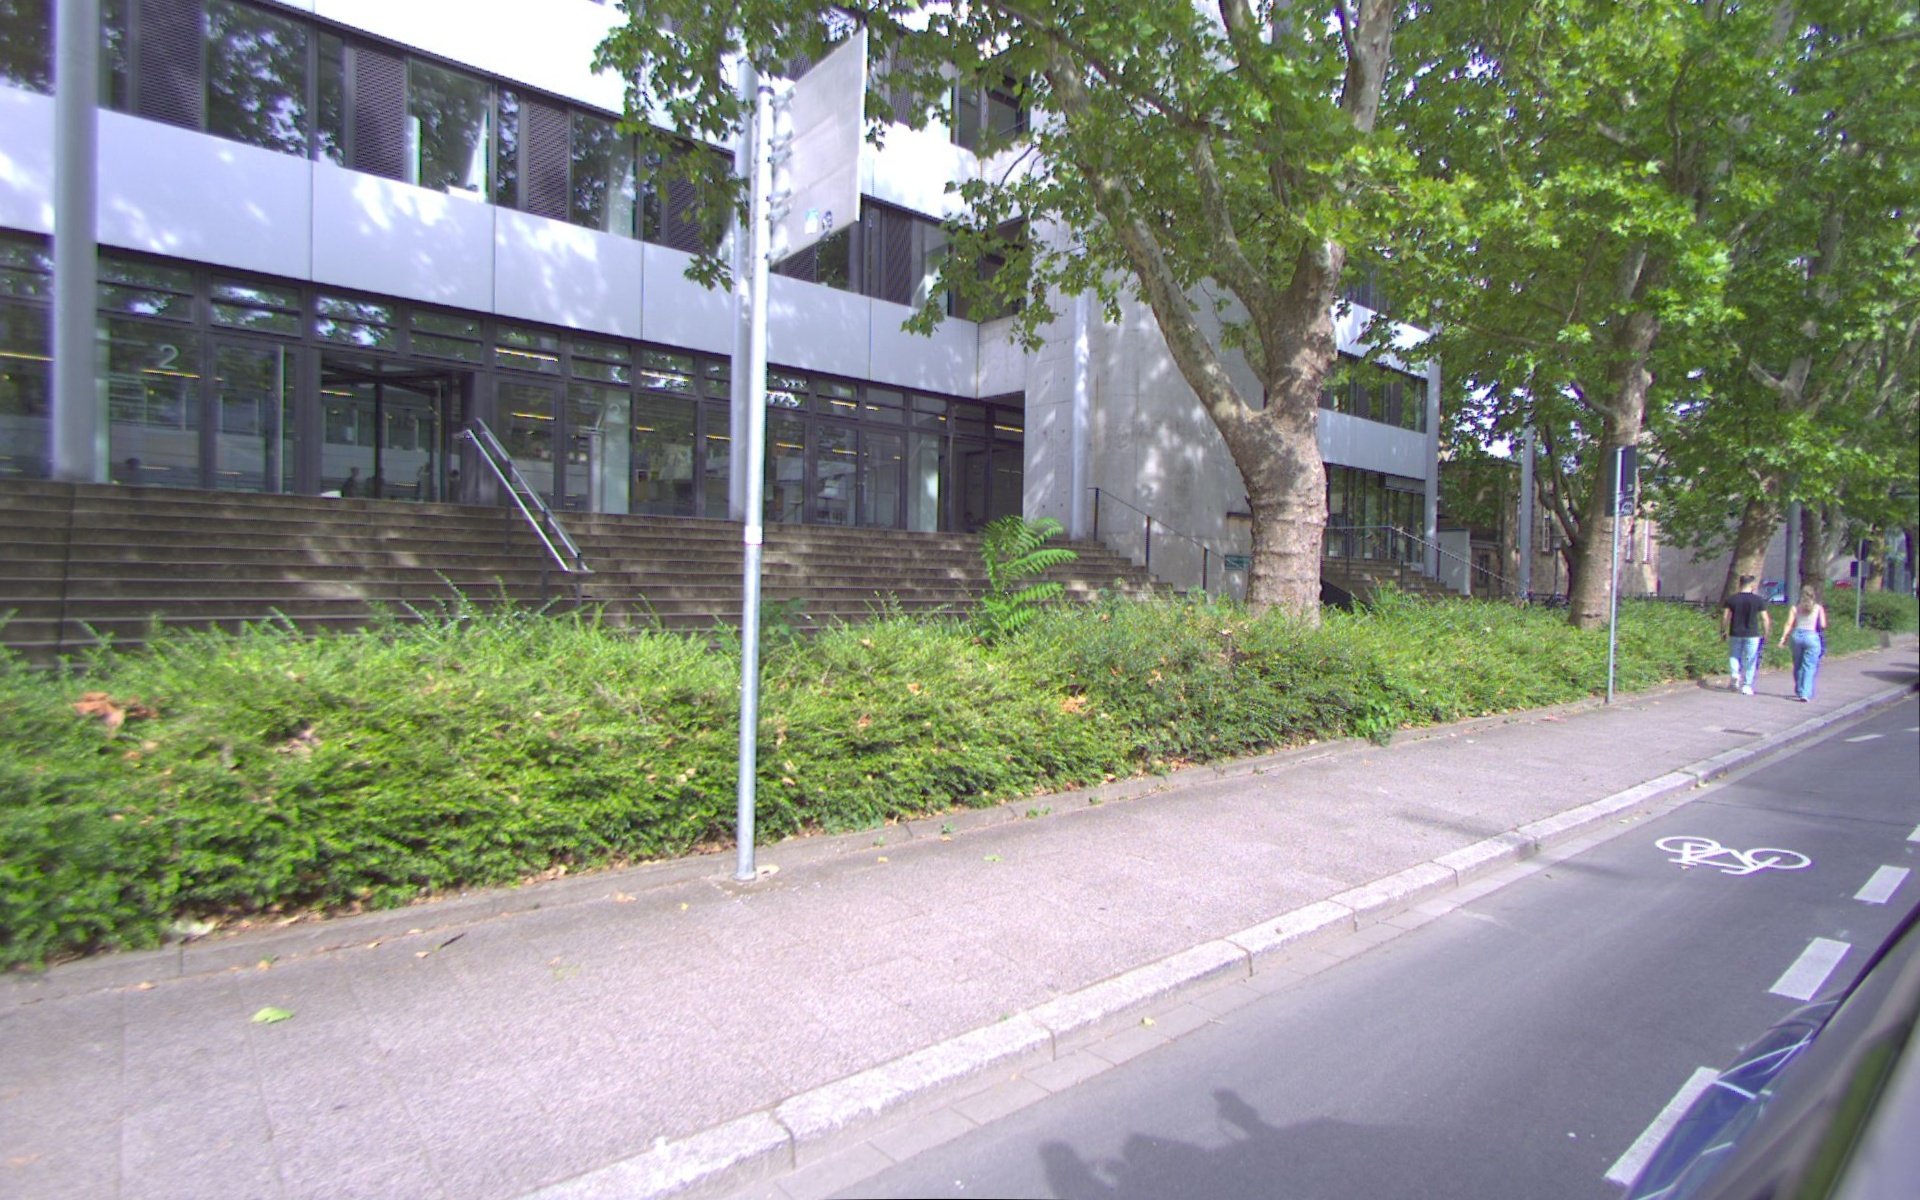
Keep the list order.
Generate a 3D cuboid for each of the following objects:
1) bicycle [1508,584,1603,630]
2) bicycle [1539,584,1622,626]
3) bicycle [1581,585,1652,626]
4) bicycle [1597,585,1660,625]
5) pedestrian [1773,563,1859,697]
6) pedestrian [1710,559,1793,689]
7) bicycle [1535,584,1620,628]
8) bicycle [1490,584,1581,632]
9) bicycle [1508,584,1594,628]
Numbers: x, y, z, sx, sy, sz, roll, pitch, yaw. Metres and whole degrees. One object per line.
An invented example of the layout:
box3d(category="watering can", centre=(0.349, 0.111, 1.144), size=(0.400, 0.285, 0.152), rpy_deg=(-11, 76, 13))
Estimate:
box3d(category="bicycle", centre=(15.983, 0.167, 27.215), size=(0.661, 1.131, 2.084), rpy_deg=(0, 2, -40))
box3d(category="bicycle", centre=(18.085, 0.131, 29.532), size=(0.661, 1.131, 1.919), rpy_deg=(0, 2, -40))
box3d(category="bicycle", centre=(19.372, 0.145, 29.888), size=(1.686, 1.131, 0.616), rpy_deg=(3, 2, 31))
box3d(category="bicycle", centre=(20.496, 0.144, 31.043), size=(1.539, 1.131, 0.461), rpy_deg=(4, 2, 43))
box3d(category="pedestrian", centre=(12.146, 0.396, 14.353), size=(1.016, 1.805, 0.712), rpy_deg=(0, 3, -42))
box3d(category="pedestrian", centre=(11.711, 0.326, 14.968), size=(1.016, 1.821, 0.716), rpy_deg=(0, 3, -42))
box3d(category="bicycle", centre=(17.447, 0.145, 28.629), size=(0.661, 1.131, 1.919), rpy_deg=(0, 2, -40))
box3d(category="bicycle", centre=(14.974, 0.179, 26.375), size=(0.661, 1.131, 1.919), rpy_deg=(0, 2, -40))
box3d(category="bicycle", centre=(16.464, 0.150, 28.239), size=(0.661, 1.131, 1.919), rpy_deg=(0, 2, -40))
